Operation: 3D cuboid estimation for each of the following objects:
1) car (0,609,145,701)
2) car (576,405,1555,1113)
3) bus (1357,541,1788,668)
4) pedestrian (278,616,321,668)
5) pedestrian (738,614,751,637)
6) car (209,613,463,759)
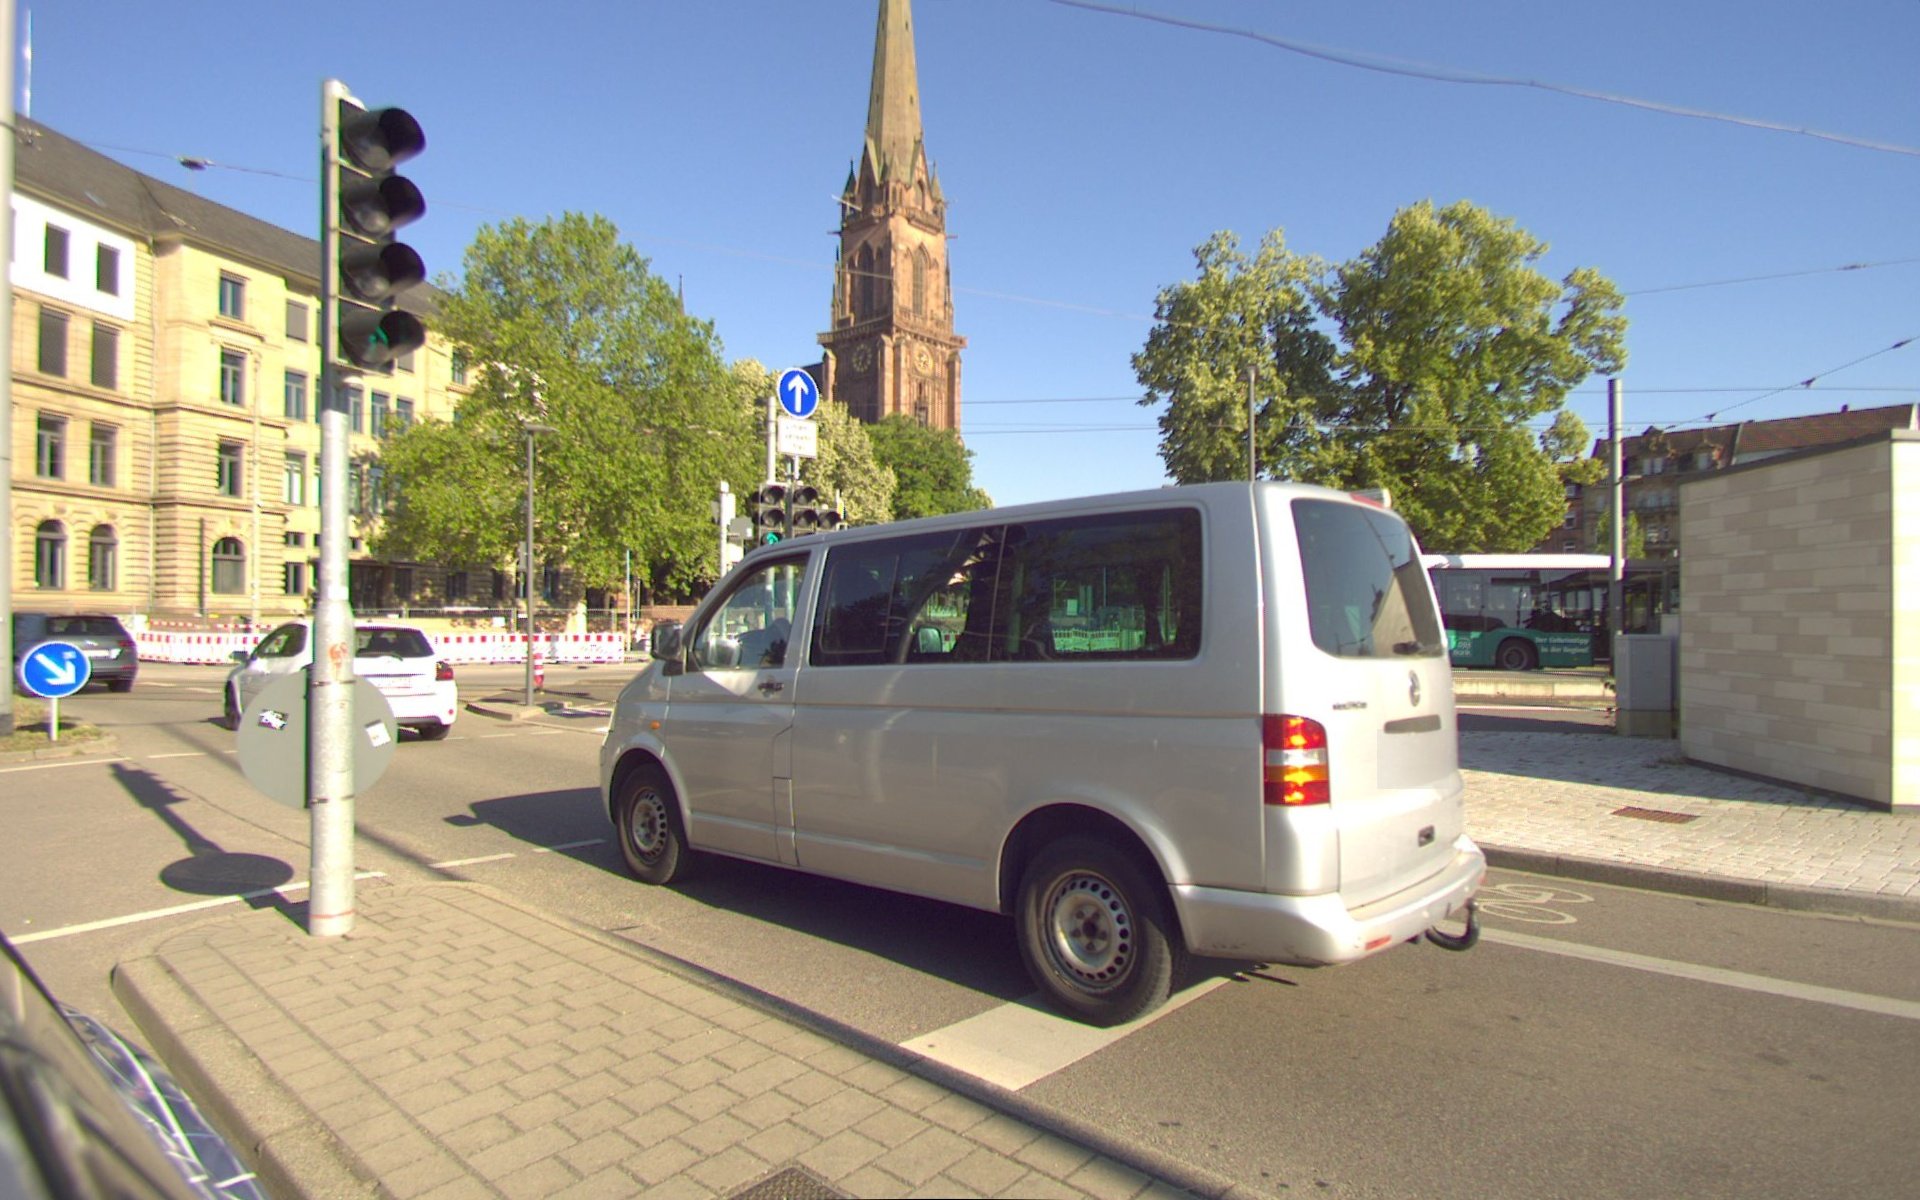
[{"bbox_3d":[-18.885,1.071,20.799,4.511,1.719,1.750,0,-3,29],"label":"car"},{"bbox_3d":[0.114,0.505,5.114,4.705,1.960,1.888,-1,-3,43],"label":"car"},{"bbox_3d":[15.965,0.111,27.078,9.531,3.159,2.656,0,1,8],"label":"bus"},{"bbox_3d":[-22.025,1.401,33.753,0.886,1.710,0.712,2,-2,-9],"label":"pedestrian"},{"bbox_3d":[-15.907,1.854,74.619,0.673,1.660,0.631,-1,-1,30],"label":"pedestrian"},{"bbox_3d":[-8.012,0.965,12.859,3.978,1.572,1.676,-1,-2,42],"label":"car"}]
